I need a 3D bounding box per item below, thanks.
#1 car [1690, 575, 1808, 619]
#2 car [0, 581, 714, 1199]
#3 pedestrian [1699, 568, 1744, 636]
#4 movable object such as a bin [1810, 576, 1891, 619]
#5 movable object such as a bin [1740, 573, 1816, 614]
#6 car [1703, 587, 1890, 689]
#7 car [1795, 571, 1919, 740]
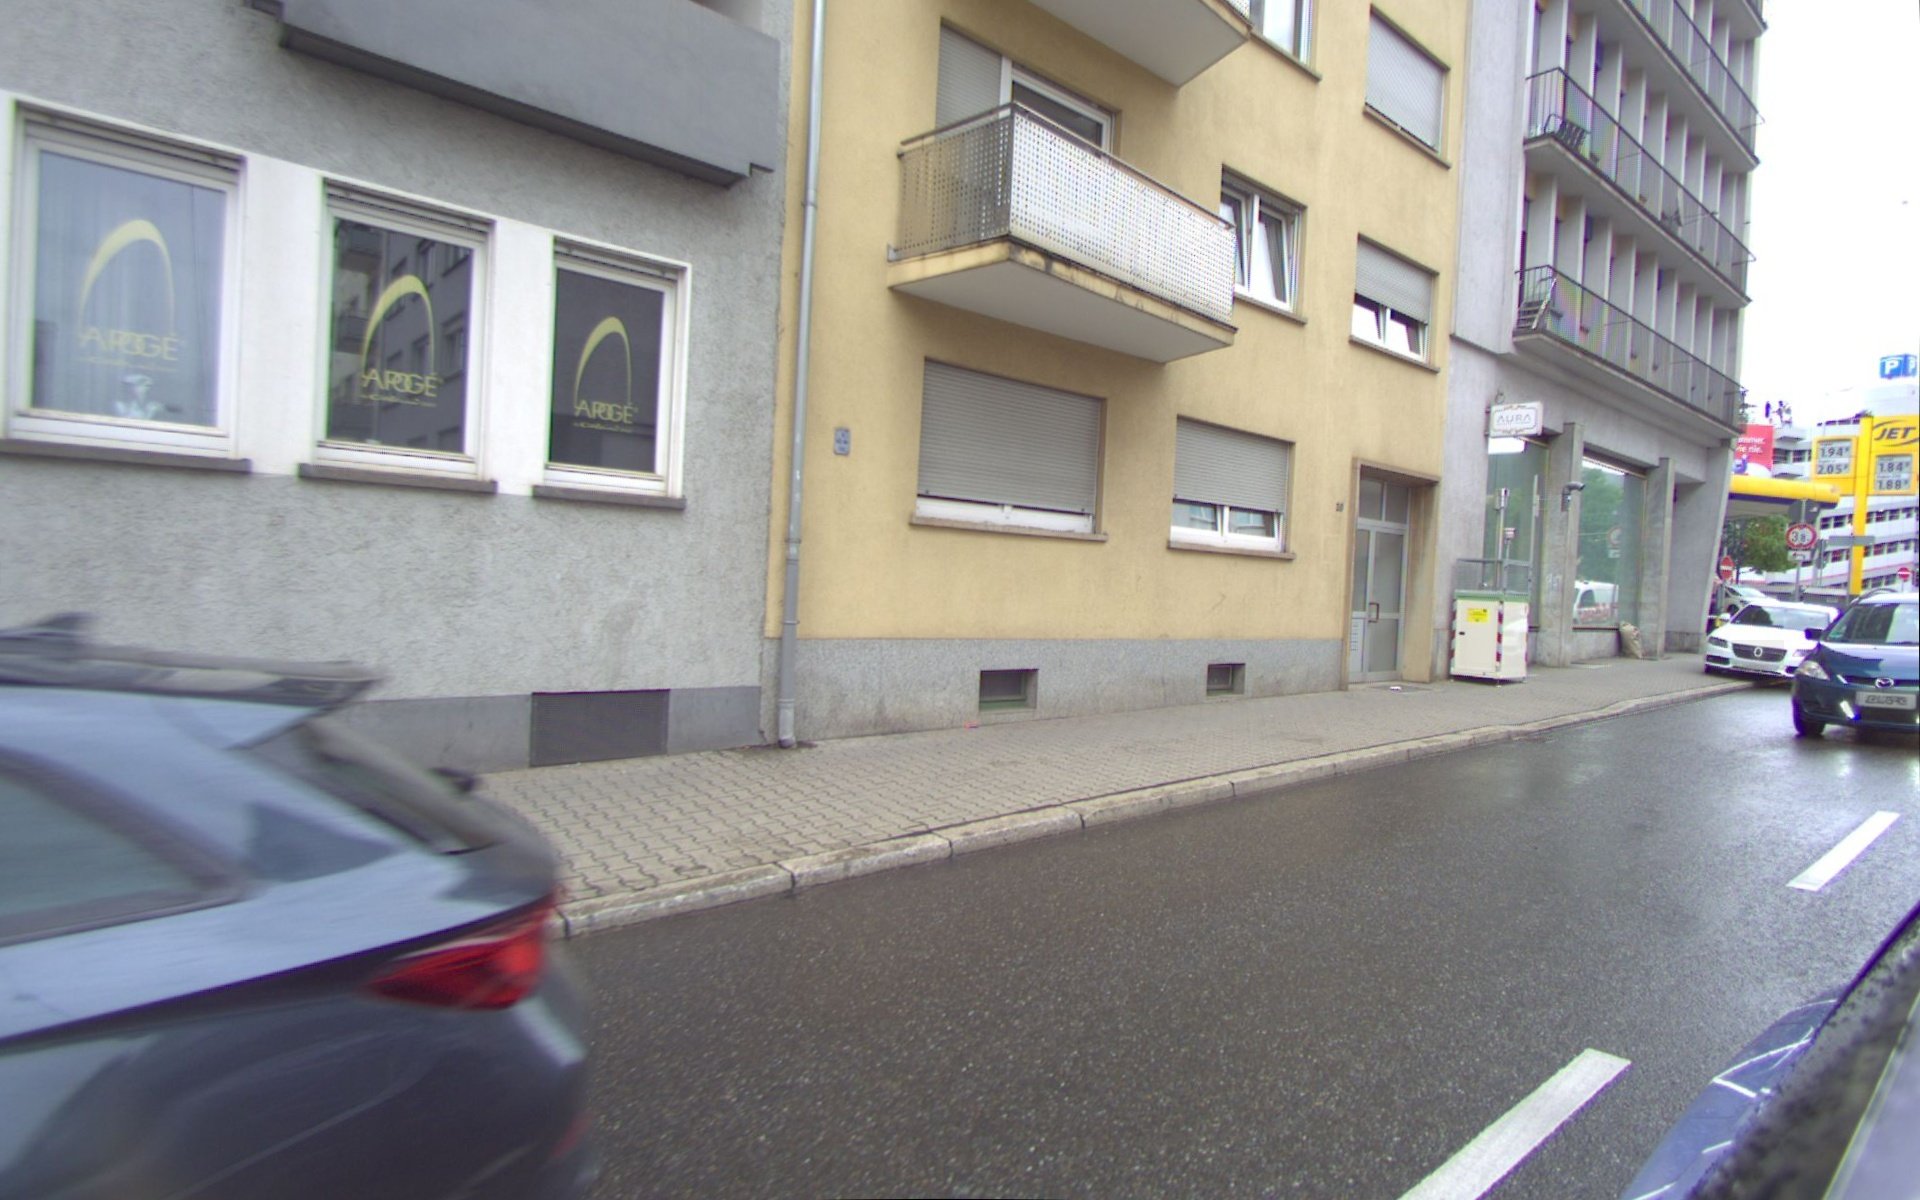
[{"bbox_3d":[31.938,-0.182,41.110,1.715,1.459,3.999,3,4,4],"label":"car"},{"bbox_3d":[-2.737,0.668,1.103,4.502,1.405,1.737,1,1,-41],"label":"car"},{"bbox_3d":[20.913,0.053,27.813,0.648,1.792,0.529,4,4,8],"label":"pedestrian"},{"bbox_3d":[36.564,-0.099,41.553,1.741,1.593,2.162,1,3,-39],"label":"movable object such as a bin"},{"bbox_3d":[35.038,-0.278,43.363,1.741,1.574,2.162,1,4,-39],"label":"movable object such as a bin"},{"bbox_3d":[15.479,0.626,18.641,4.529,1.418,1.898,1,7,-42],"label":"car"},{"bbox_3d":[11.069,0.578,11.394,3.928,1.677,1.845,1,1,-40],"label":"car"}]
